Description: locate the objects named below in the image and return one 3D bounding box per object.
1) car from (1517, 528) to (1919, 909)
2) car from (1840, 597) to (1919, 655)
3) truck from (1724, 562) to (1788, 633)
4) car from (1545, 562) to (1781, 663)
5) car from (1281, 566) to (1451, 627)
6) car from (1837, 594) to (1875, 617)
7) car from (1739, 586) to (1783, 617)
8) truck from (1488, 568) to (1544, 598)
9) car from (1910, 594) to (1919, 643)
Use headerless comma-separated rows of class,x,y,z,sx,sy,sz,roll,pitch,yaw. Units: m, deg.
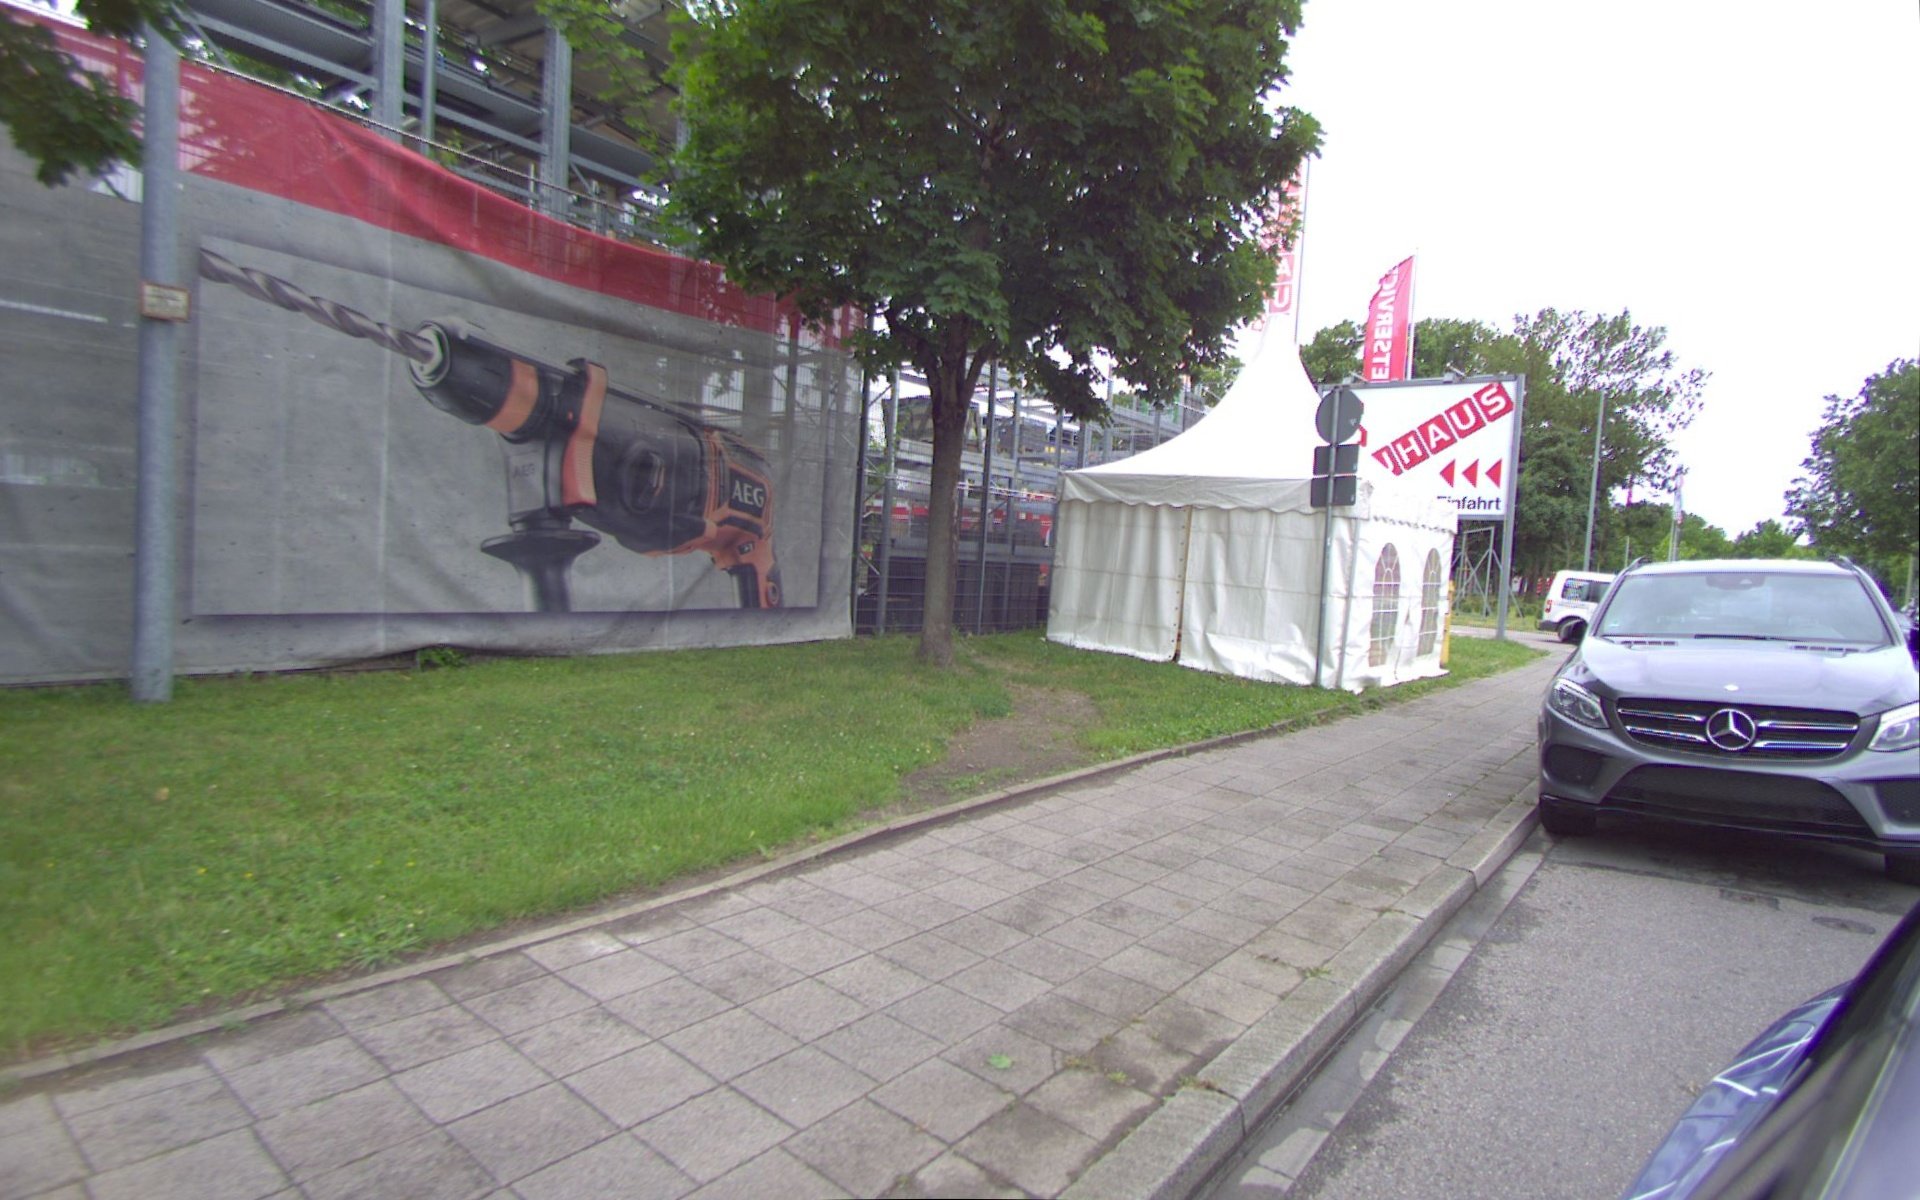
car,5.295,0.520,6.859,1.906,1.762,4.417,2,1,39
car,25.769,0.680,28.118,1.743,1.375,4.080,3,3,39
truck,31.308,-0.139,39.854,1.844,2.645,3.945,1,1,38
car,16.789,0.228,24.335,4.364,1.828,1.776,8,5,38
car,11.403,-0.146,28.568,4.099,1.438,1.706,5,3,40
car,70.066,0.438,79.156,1.923,1.592,3.943,6,4,39
car,50.207,0.086,63.384,1.992,1.771,3.943,5,4,39
truck,50.040,-1.506,91.073,3.917,2.425,2.005,3,3,-11
car,33.577,0.750,33.912,1.958,1.681,4.589,8,5,38
